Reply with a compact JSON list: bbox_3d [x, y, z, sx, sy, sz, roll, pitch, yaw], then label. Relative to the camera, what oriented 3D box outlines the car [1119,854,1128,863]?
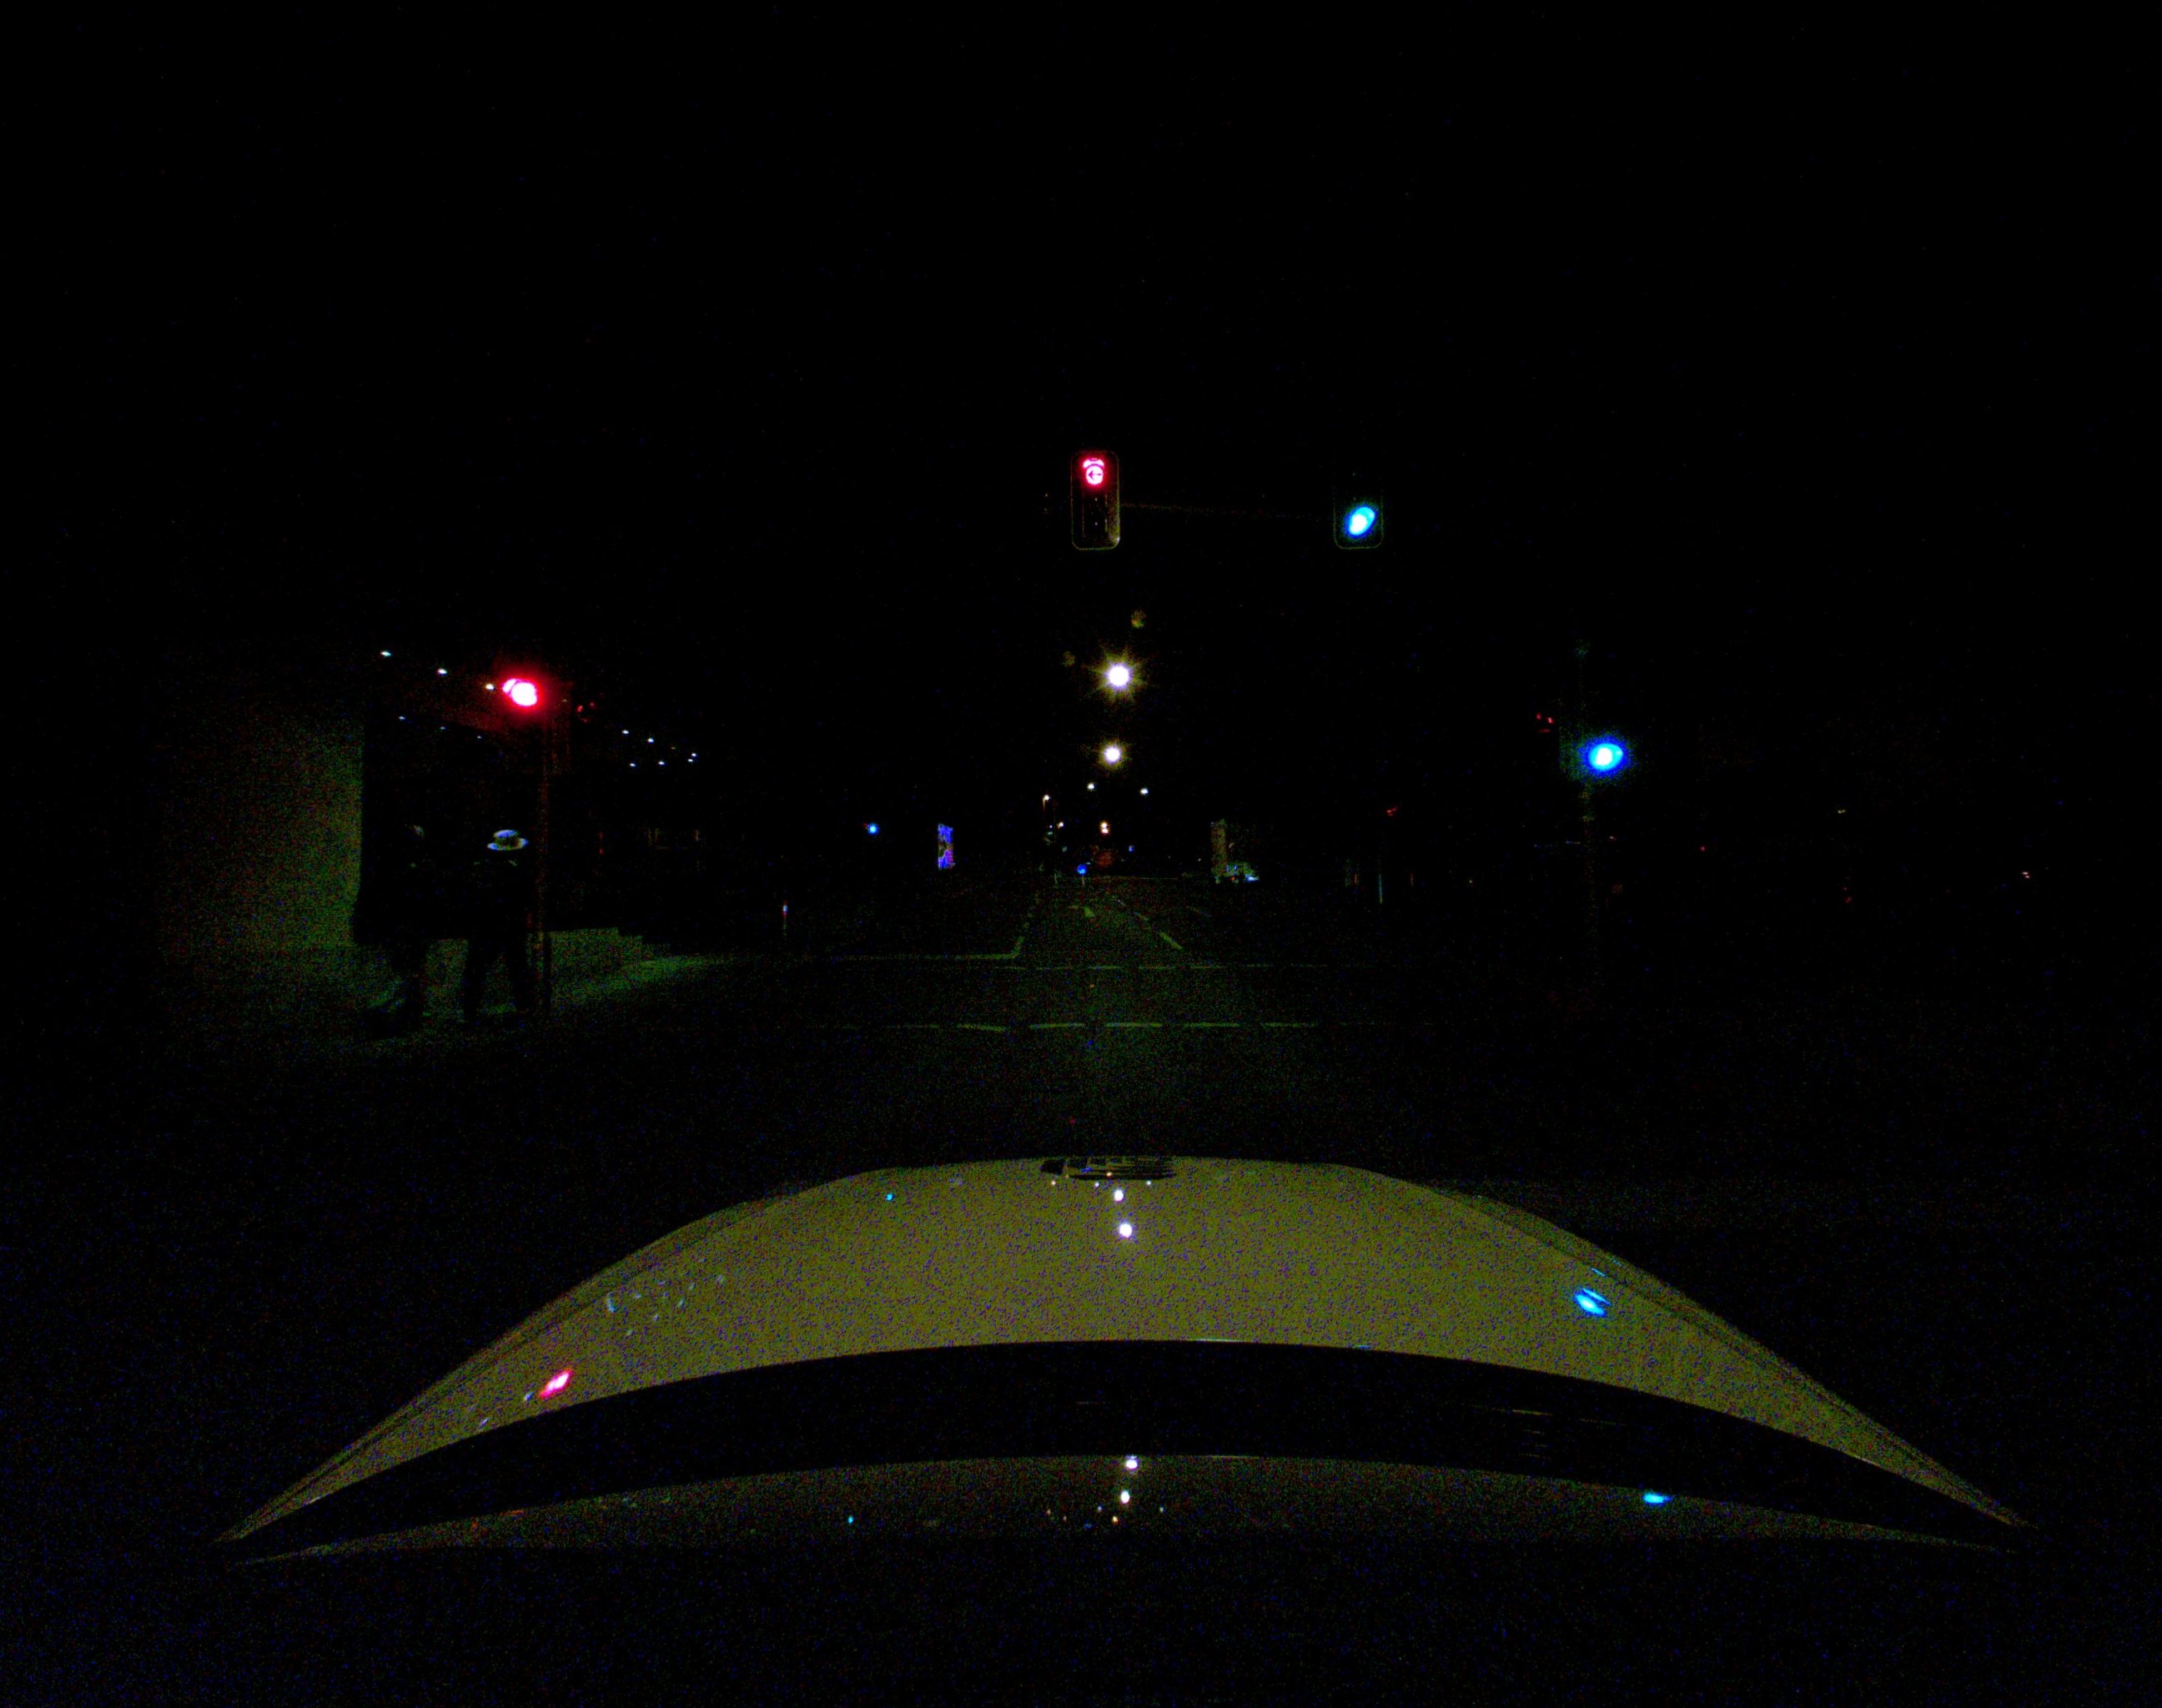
[{"bbox_3d":[7.483,0.816,143.402,1.628,1.452,3.486,0,0,2],"label":"car"}]

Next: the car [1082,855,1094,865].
[{"bbox_3d":[1.194,1.002,134.631,1.808,1.684,4.002,0,0,2],"label":"car"}]

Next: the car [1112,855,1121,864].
[{"bbox_3d":[6.019,0.968,138.107,1.587,1.476,3.655,0,0,2],"label":"car"}]

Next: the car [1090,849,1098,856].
[{"bbox_3d":[2.996,-0.336,187.159,1.809,1.491,4.000,0,0,0],"label":"car"}]

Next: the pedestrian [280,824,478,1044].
[{"bbox_3d":[-6.003,0.640,7.044,0.739,1.745,1.103,-1,-1,0],"label":"pedestrian"}]

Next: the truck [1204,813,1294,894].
[{"bbox_3d":[6.962,0.003,34.613,2.738,3.110,6.262,0,0,2],"label":"truck"}]

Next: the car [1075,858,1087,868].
[{"bbox_3d":[0.063,1.334,118.417,1.628,1.452,3.486,0,0,2],"label":"car"}]

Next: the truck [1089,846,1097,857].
[{"bbox_3d":[3.138,-0.724,209.812,2.079,2.848,5.831,0,0,0],"label":"truck"}]

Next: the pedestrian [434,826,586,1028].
[{"bbox_3d":[-5.268,0.637,7.586,0.673,1.745,1.029,-1,-1,0],"label":"pedestrian"}]

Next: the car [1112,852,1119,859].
[{"bbox_3d":[8.183,0.351,191.557,1.628,1.452,3.486,0,0,2],"label":"car"}]

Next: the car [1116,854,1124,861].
[{"bbox_3d":[7.605,0.702,159.332,1.628,1.452,3.486,0,0,2],"label":"car"}]

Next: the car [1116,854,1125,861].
[{"bbox_3d":[7.469,0.640,153.147,1.628,1.452,3.486,0,0,2],"label":"car"}]

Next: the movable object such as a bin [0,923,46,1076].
[{"bbox_3d":[-7.928,1.035,5.706,0.633,1.049,0.657,-1,-1,19],"label":"movable object such as a bin"}]

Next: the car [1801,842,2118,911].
[{"bbox_3d":[17.321,0.449,16.275,4.107,1.280,1.770,-1,-1,9],"label":"car"}]

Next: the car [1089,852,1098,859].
[{"bbox_3d":[2.431,0.306,160.756,1.809,1.491,4.000,0,0,0],"label":"car"}]
